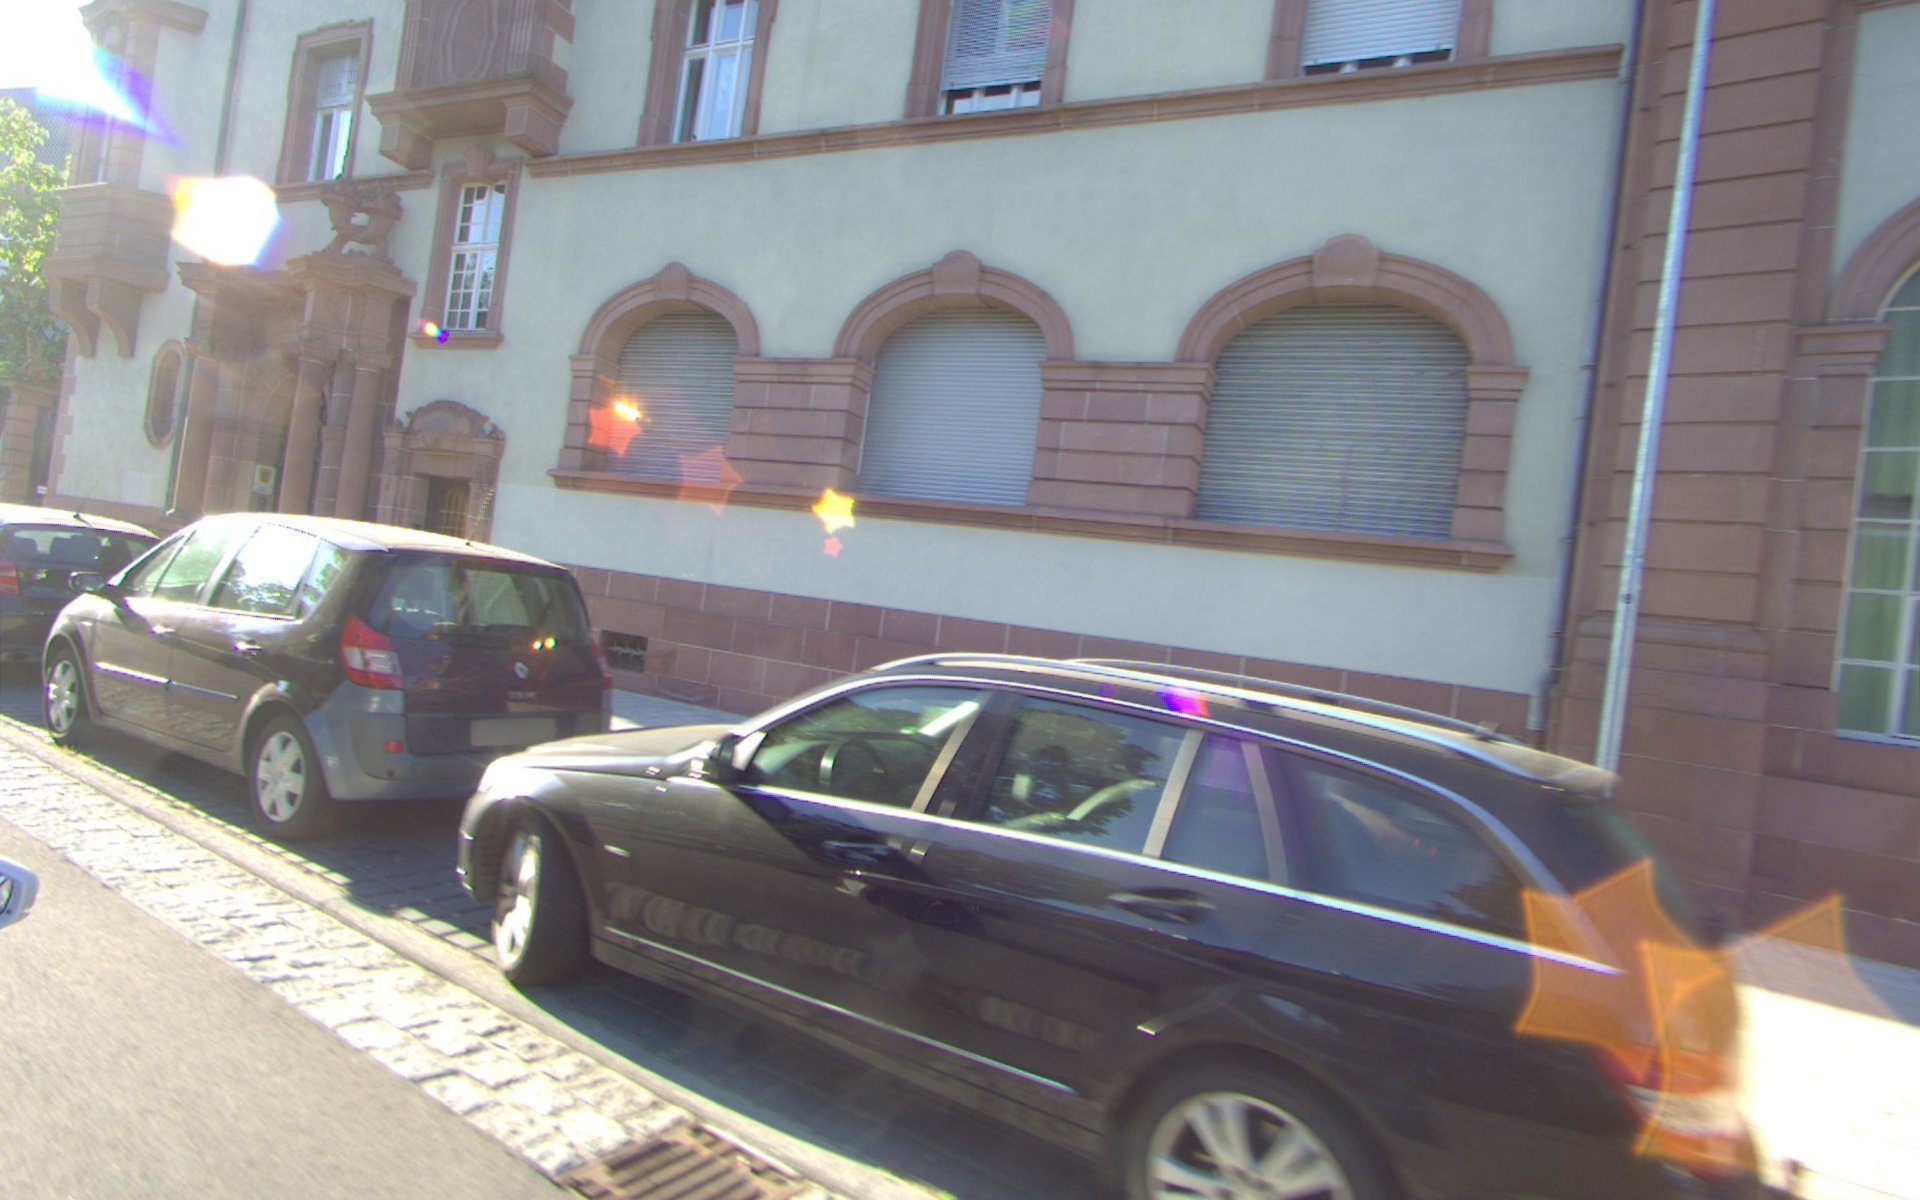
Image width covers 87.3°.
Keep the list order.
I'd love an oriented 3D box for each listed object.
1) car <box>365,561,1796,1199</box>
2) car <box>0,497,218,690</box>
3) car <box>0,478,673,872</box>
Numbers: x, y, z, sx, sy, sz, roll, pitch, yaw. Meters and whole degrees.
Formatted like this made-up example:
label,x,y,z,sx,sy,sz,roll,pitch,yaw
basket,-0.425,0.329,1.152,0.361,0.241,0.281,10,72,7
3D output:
label,x,y,z,sx,sy,sz,roll,pitch,yaw
car,0.005,0.860,3.793,4.446,1.454,1.874,7,0,31
car,-8.746,-0.199,9.168,4.129,1.420,1.681,7,0,31
car,-4.069,0.284,6.421,4.121,1.622,1.819,7,0,30
